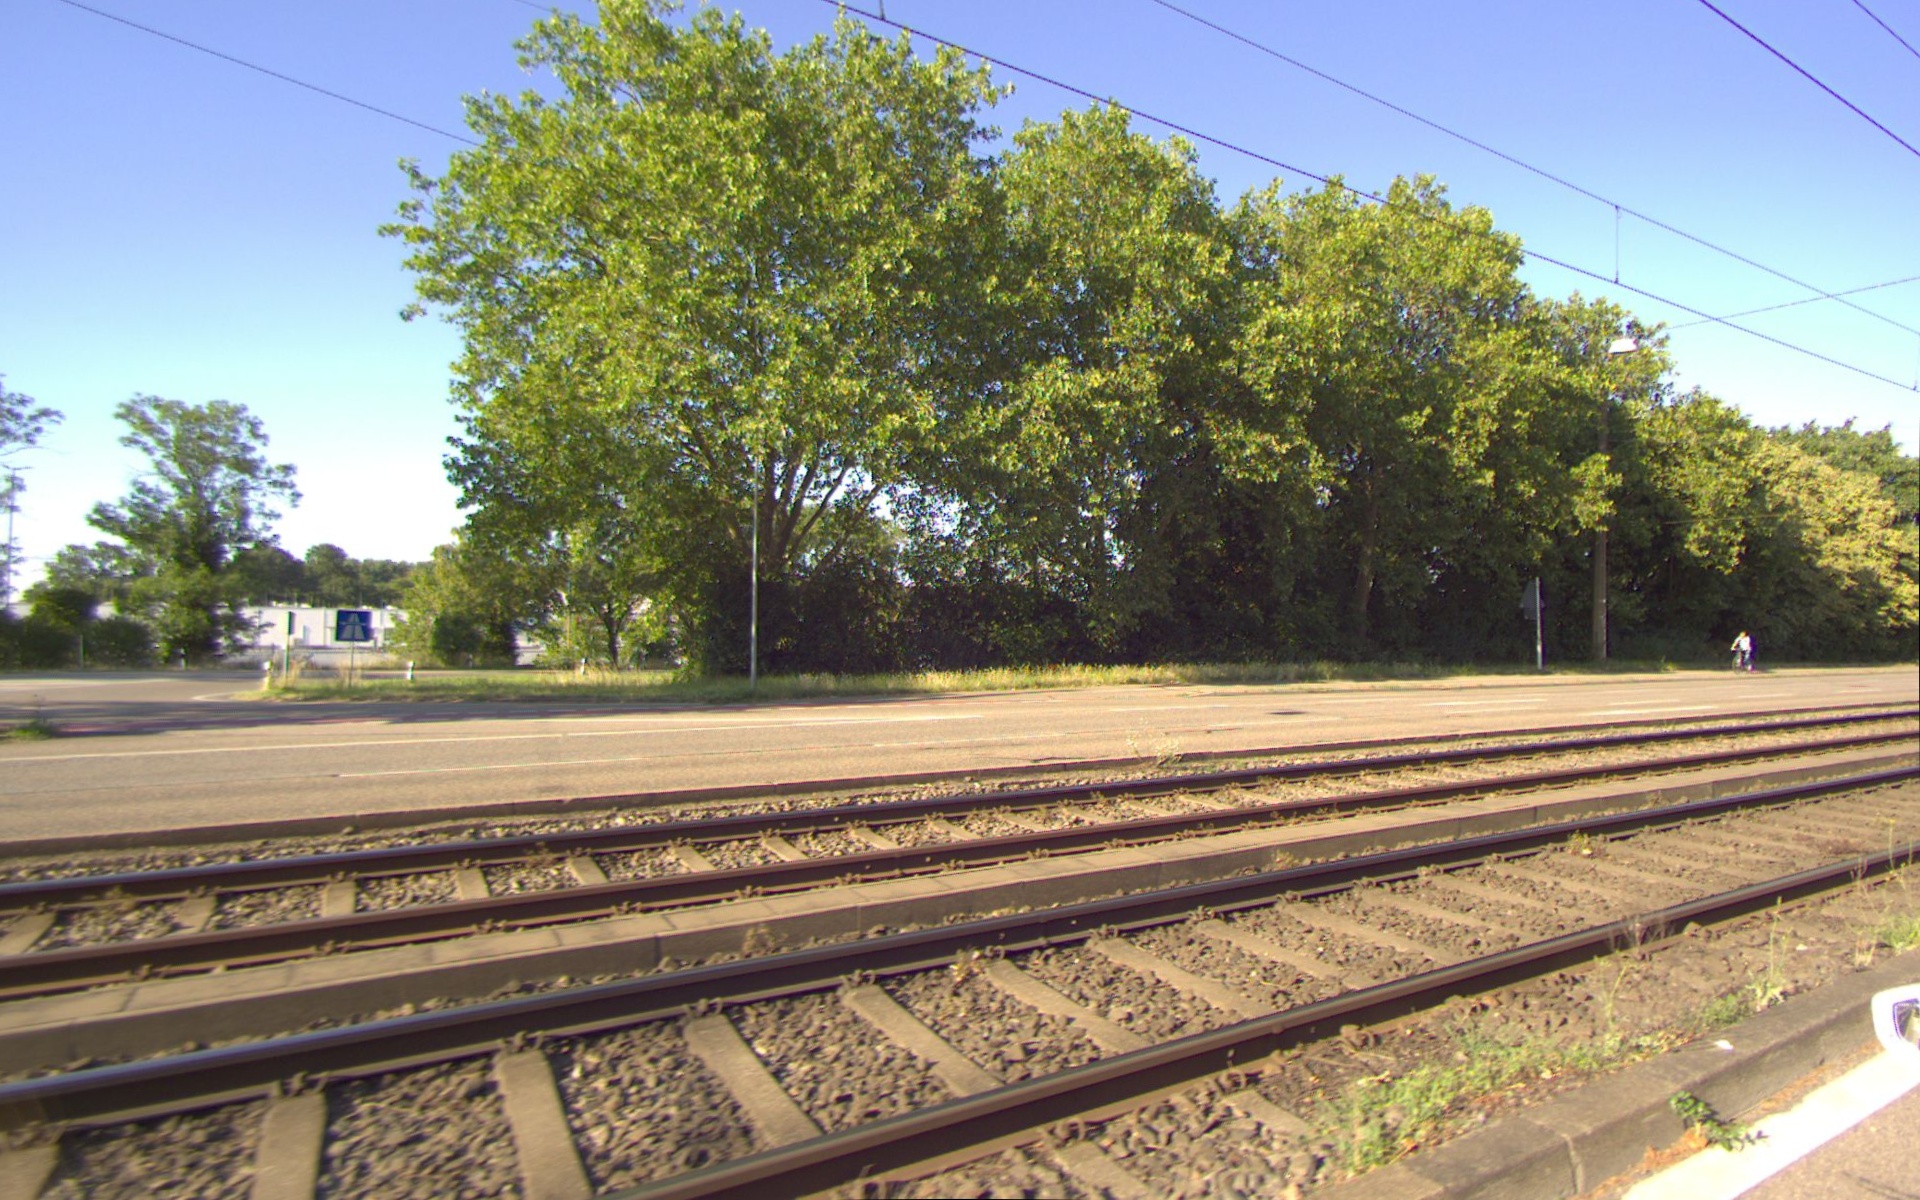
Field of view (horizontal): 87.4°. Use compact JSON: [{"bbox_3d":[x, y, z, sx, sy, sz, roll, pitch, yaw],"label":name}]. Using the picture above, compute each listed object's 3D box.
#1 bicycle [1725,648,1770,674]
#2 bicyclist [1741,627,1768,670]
[{"bbox_3d":[32.571,2.515,41.527,2.209,0.999,0.548,2,0,-26],"label":"bicycle"},{"bbox_3d":[32.669,1.988,41.292,0.809,1.713,0.548,2,1,-26],"label":"bicyclist"}]
